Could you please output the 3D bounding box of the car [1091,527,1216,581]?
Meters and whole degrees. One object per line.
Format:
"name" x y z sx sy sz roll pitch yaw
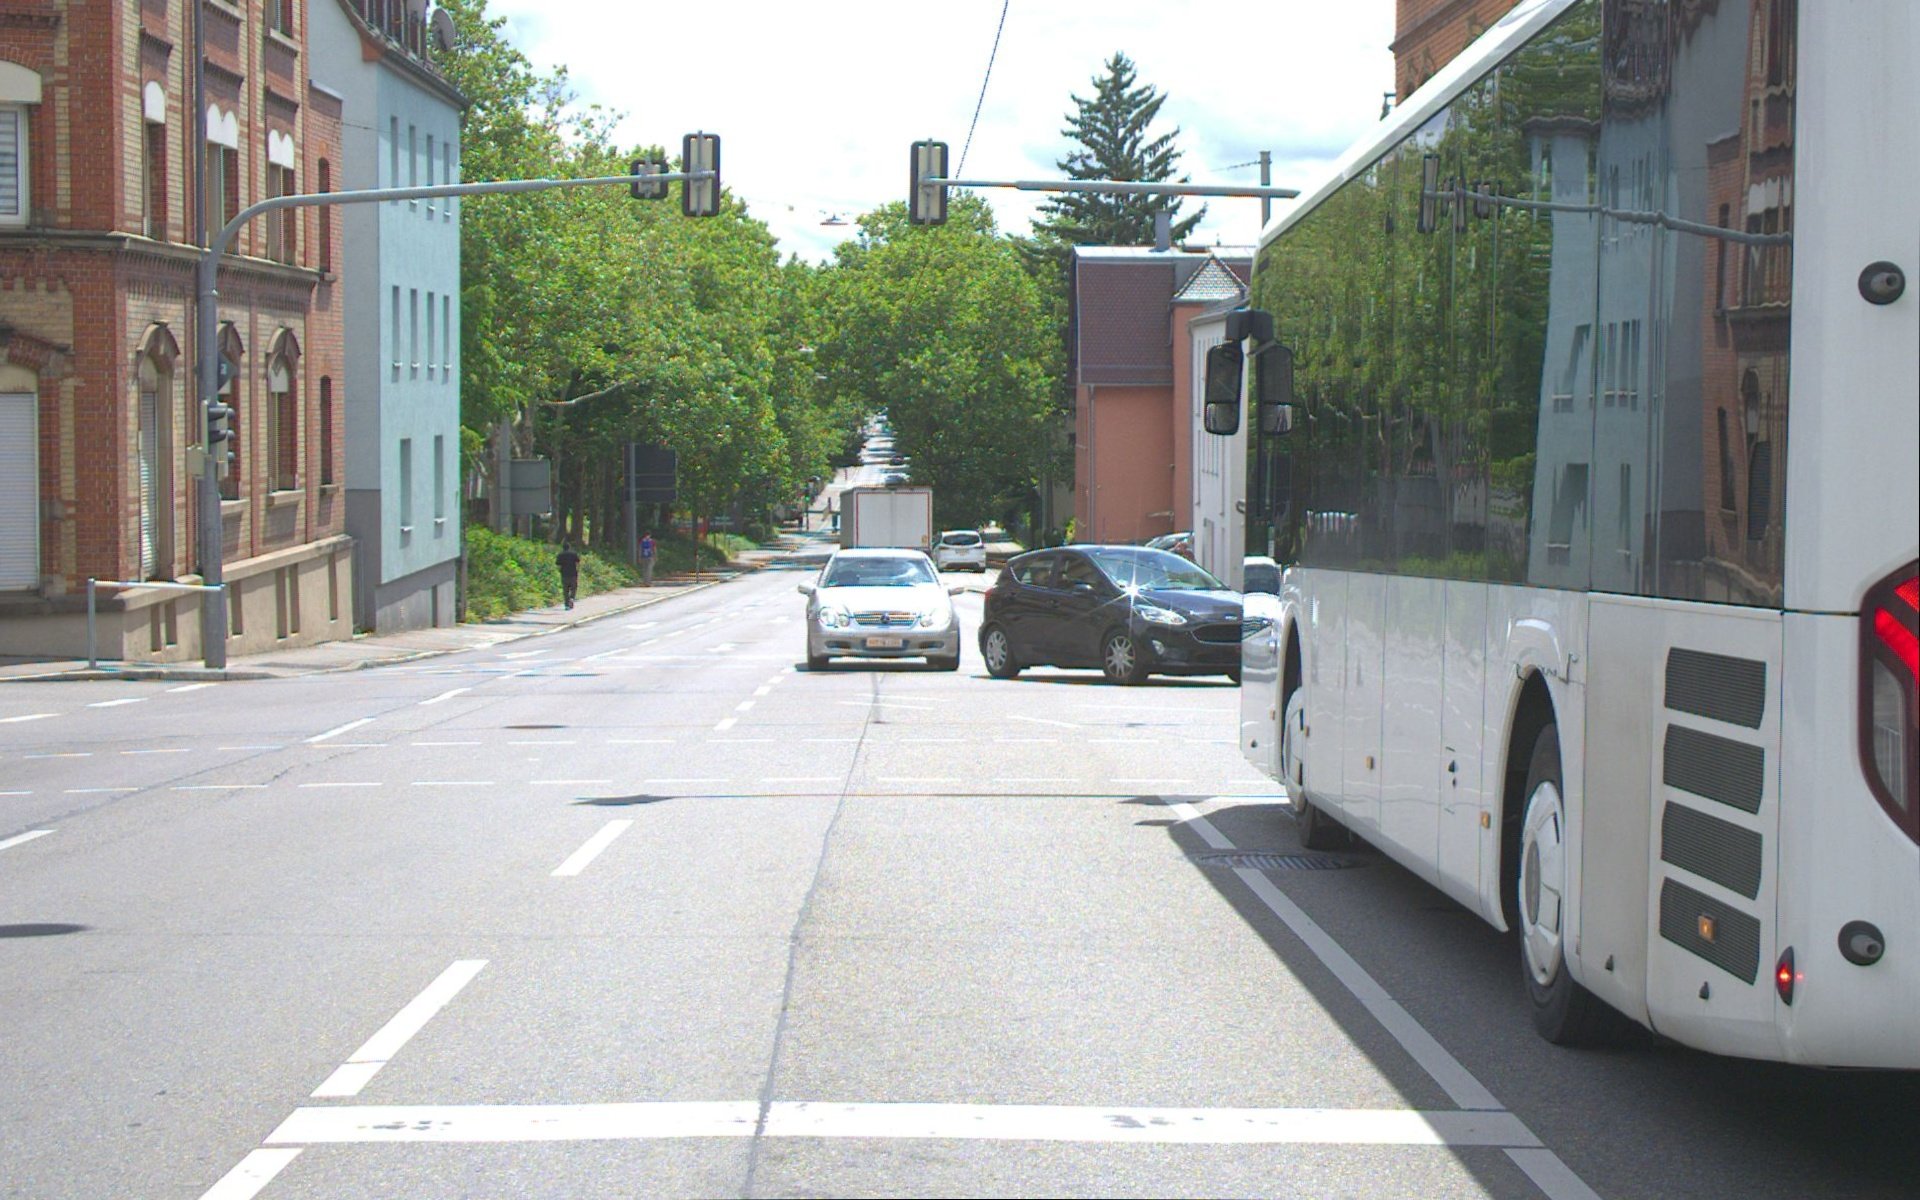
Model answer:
"car" 6.563 -1.577 116.895 3.986 1.751 2.000 -1 1 -5

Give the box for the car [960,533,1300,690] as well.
"car" 1.707 0.073 35.793 1.758 1.511 3.793 -2 2 -30

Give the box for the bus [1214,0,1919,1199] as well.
"bus" 2.832 -0.320 12.970 2.672 3.145 12.463 -1 1 -1

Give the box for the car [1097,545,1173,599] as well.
"car" 4.898 -0.809 96.802 1.794 1.405 4.001 -1 2 -2

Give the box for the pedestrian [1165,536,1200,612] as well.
"pedestrian" 5.154 -0.615 79.775 0.738 1.744 0.619 -1 1 -1

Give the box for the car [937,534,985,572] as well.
"car" 0.018 -1.819 132.912 1.794 1.405 4.000 1 1 -1

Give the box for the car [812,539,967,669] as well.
"car" -0.784 0.010 40.386 1.698 1.422 4.000 -1 1 0

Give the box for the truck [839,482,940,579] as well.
"truck" -2.408 -2.345 114.895 2.926 3.070 7.887 -1 1 -4

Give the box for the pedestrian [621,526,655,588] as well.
"pedestrian" -10.497 -1.417 112.220 0.995 2.007 1.189 -1 1 -1

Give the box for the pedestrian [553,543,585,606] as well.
"pedestrian" -9.730 -0.628 85.564 0.729 1.560 0.561 0 1 -1
